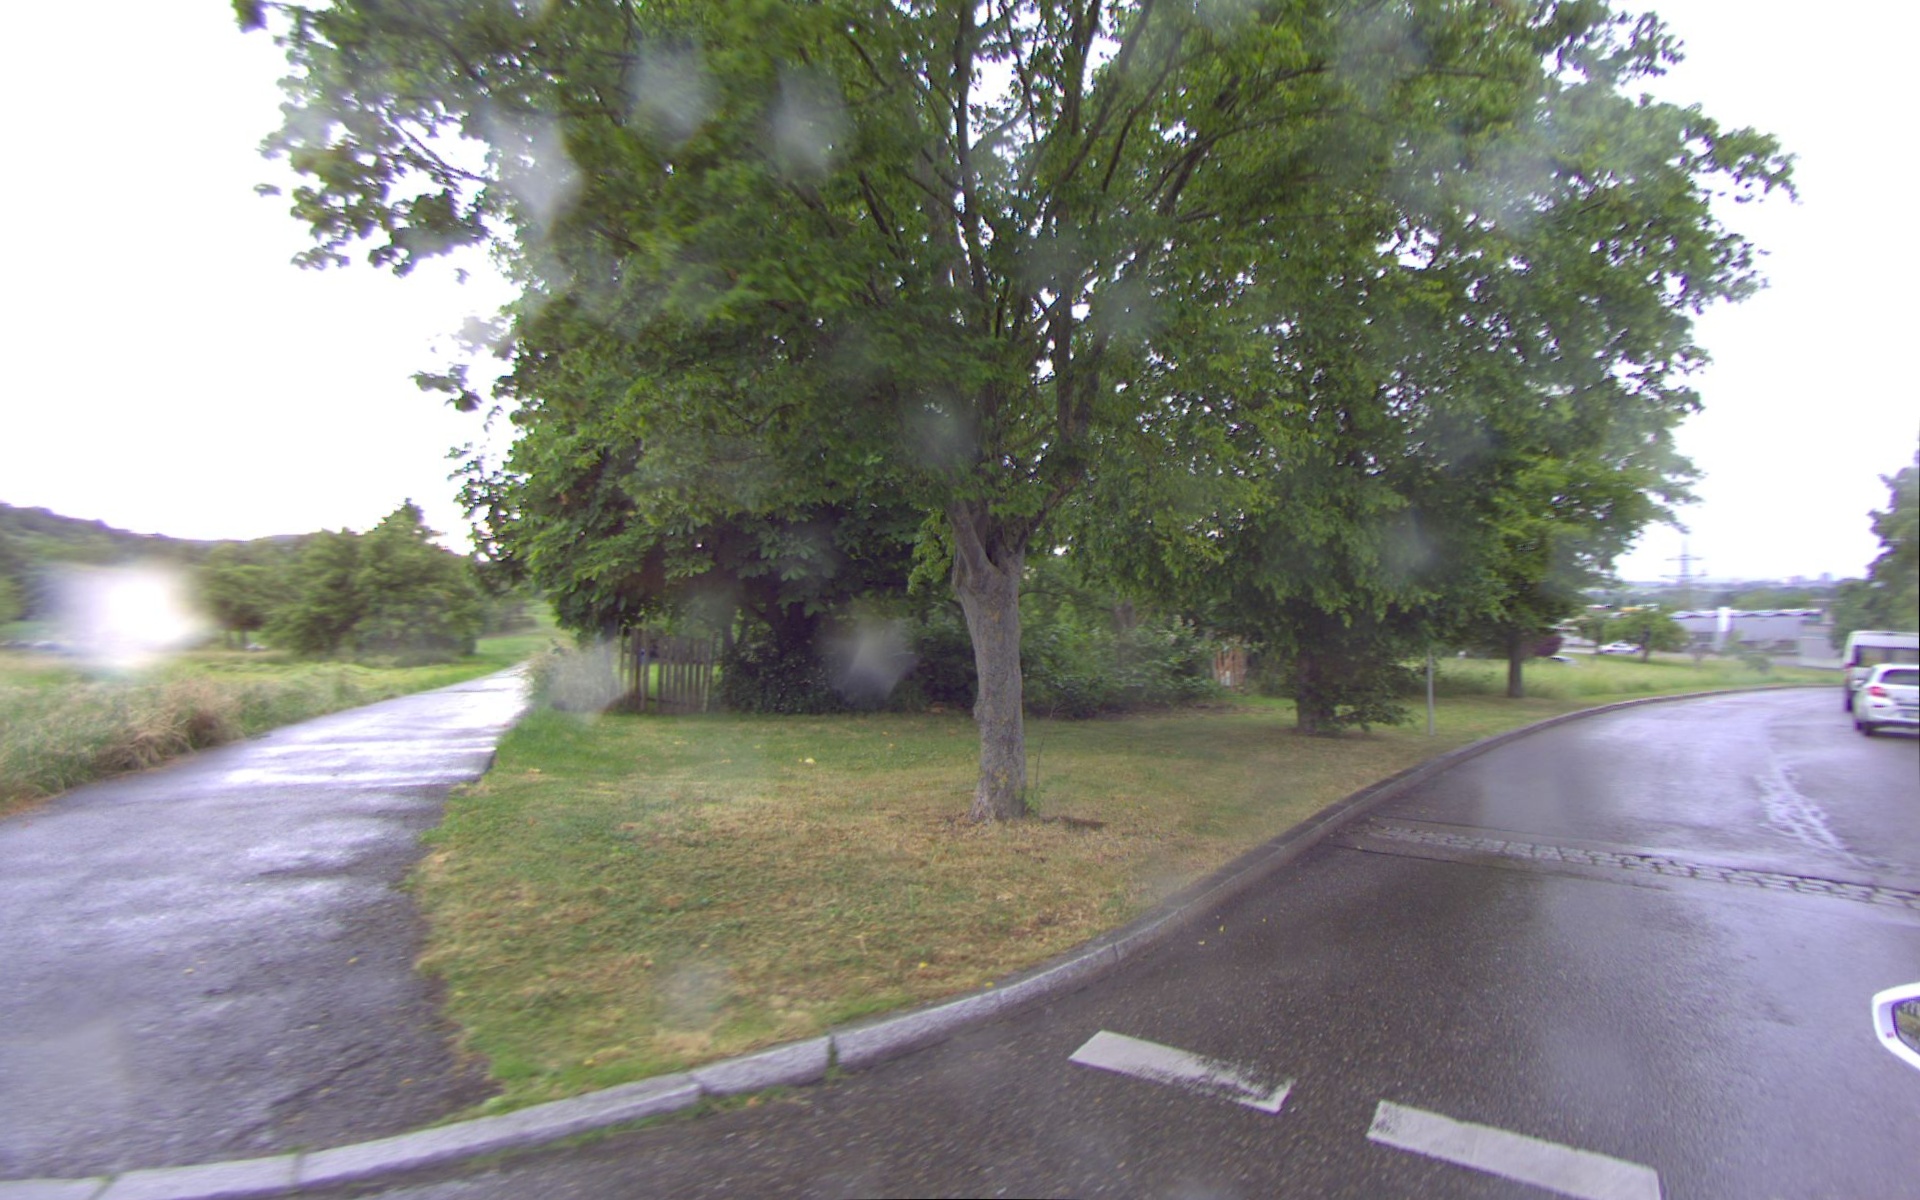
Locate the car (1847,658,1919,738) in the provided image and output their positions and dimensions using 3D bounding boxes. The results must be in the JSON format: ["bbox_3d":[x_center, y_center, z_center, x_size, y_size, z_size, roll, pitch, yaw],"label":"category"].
[{"bbox_3d":[19.937,2.028,21.209,1.586,1.522,3.711,1,-2,39],"label":"car"}]

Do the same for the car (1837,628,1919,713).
[{"bbox_3d":[30.122,2.279,32.769,2.095,2.500,5.480,1,-2,43],"label":"car"}]
